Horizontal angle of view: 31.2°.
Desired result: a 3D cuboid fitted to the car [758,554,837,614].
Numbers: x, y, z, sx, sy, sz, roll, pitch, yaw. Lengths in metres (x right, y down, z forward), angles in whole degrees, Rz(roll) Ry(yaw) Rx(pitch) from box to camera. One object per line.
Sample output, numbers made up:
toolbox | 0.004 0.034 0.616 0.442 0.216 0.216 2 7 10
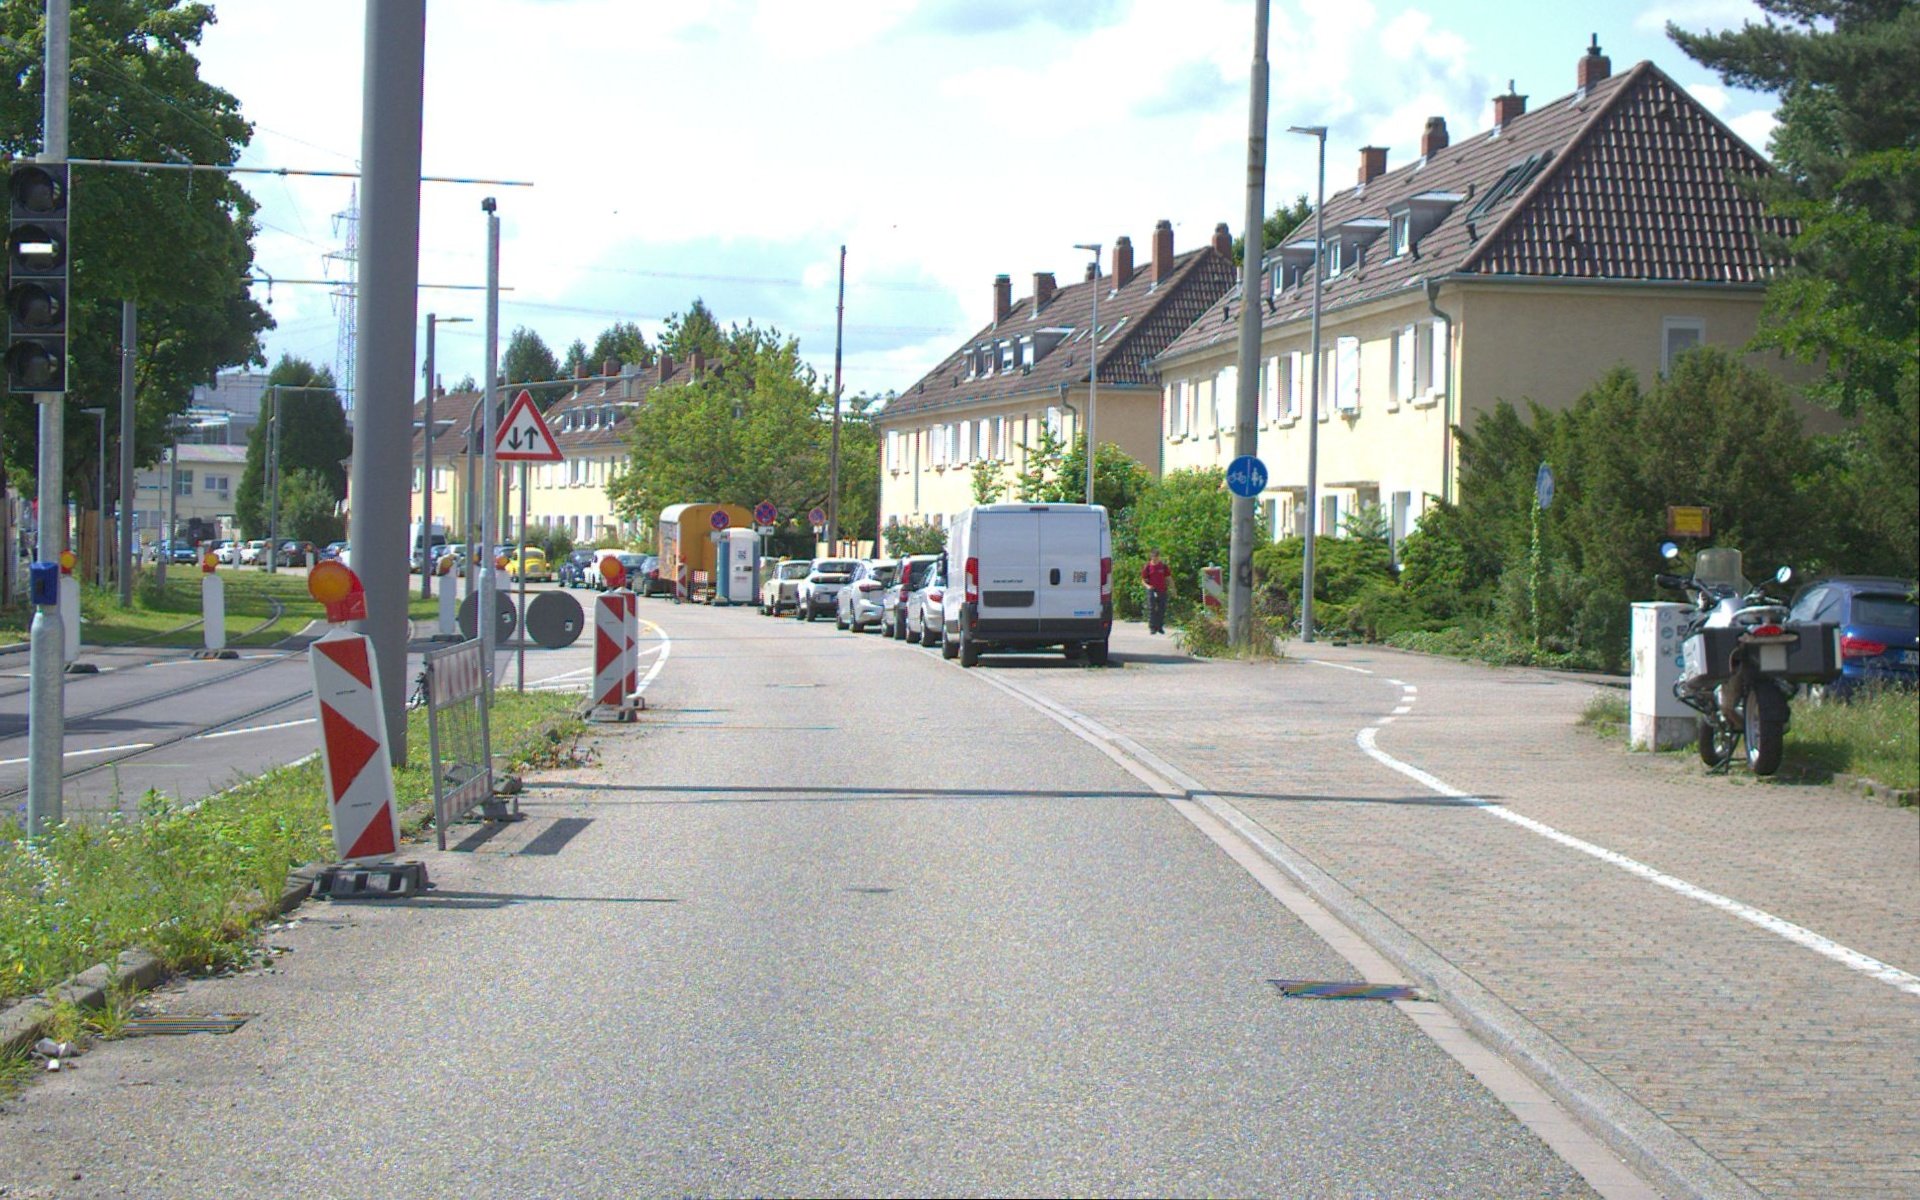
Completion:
car | -4.162 -0.429 87.648 1.463 1.497 4.110 0 1 -10

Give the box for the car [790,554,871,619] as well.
car | -3.074 -0.334 81.195 1.527 1.476 3.810 0 1 -8

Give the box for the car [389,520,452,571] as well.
car | -26.698 -2.710 170.051 1.929 2.472 5.519 0 1 -21

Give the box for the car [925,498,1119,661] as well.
car | 0.810 -0.328 49.448 2.276 2.175 6.369 0 1 -3

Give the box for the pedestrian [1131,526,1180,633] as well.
pedestrian | 3.695 -0.395 65.008 0.772 2.007 0.762 1 1 -6

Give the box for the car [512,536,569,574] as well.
car | -17.916 -1.918 146.708 1.636 1.477 3.933 -2 3 -18

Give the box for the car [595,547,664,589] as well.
car | -12.019 -1.167 124.776 1.706 1.444 4.836 1 1 -15

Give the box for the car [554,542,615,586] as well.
car | -14.707 -1.433 134.654 1.548 1.635 4.248 1 1 -18

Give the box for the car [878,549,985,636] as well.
car | -0.556 -0.162 63.579 1.628 1.544 3.810 0 1 -6

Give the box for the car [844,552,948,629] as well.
car | -1.316 -0.218 69.324 1.749 1.492 4.386 0 1 -6

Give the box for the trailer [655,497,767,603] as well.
trailer | -7.937 -1.593 109.080 2.689 3.215 5.083 1 1 -13

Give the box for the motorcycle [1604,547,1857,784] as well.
motorcycle | 5.089 0.395 22.929 1.047 1.465 2.585 -1 1 -1

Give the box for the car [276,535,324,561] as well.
car | -37.477 -2.980 195.146 1.763 1.412 4.001 -1 2 -24

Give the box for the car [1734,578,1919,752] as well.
car | 8.728 0.583 32.932 1.639 1.376 4.288 2 3 0

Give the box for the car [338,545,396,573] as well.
car | -31.450 -2.175 182.194 1.798 1.453 4.766 -1 1 -25

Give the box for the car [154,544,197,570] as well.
car | -45.071 -2.457 197.426 1.665 1.444 3.960 -2 2 -23

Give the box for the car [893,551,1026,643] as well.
car | -0.050 -0.079 58.648 1.707 1.499 4.256 0 1 -7
